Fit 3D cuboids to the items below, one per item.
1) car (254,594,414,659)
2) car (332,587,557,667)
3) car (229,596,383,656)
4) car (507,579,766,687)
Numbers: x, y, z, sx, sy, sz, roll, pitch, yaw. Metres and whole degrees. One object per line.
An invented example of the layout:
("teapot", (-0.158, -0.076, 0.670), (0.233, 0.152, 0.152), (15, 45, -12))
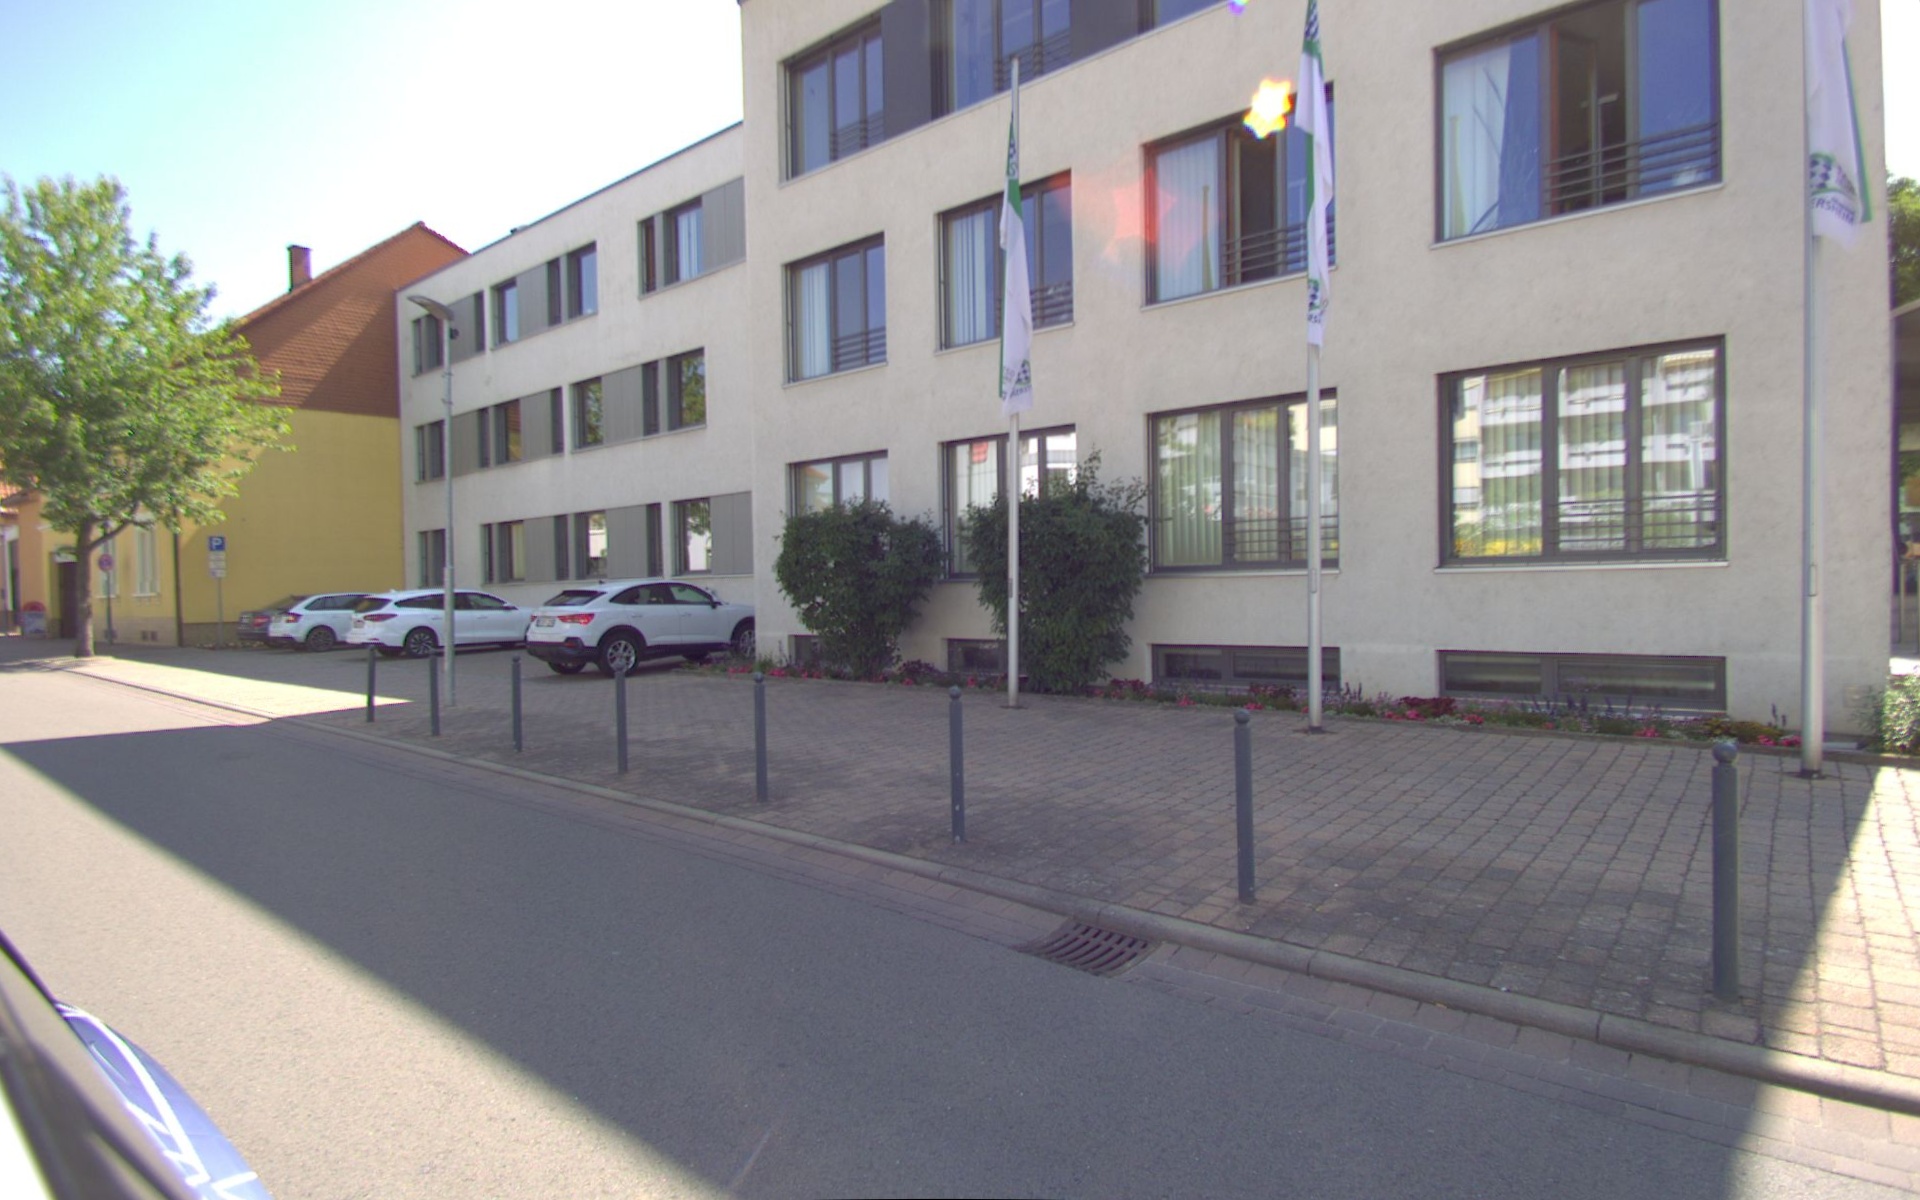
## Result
("car", (-15.969, 0.637, 25.899), (1.642, 1.461, 3.099), (-1, 2, 41))
("car", (-11.606, 0.540, 23.031), (1.512, 1.490, 4.270), (0, 2, 40))
("car", (-17.623, 0.673, 27.365), (1.373, 1.412, 3.218), (-1, 2, 38))
("car", (-5.465, 0.475, 17.498), (1.747, 1.559, 3.949), (-1, 2, 38))
